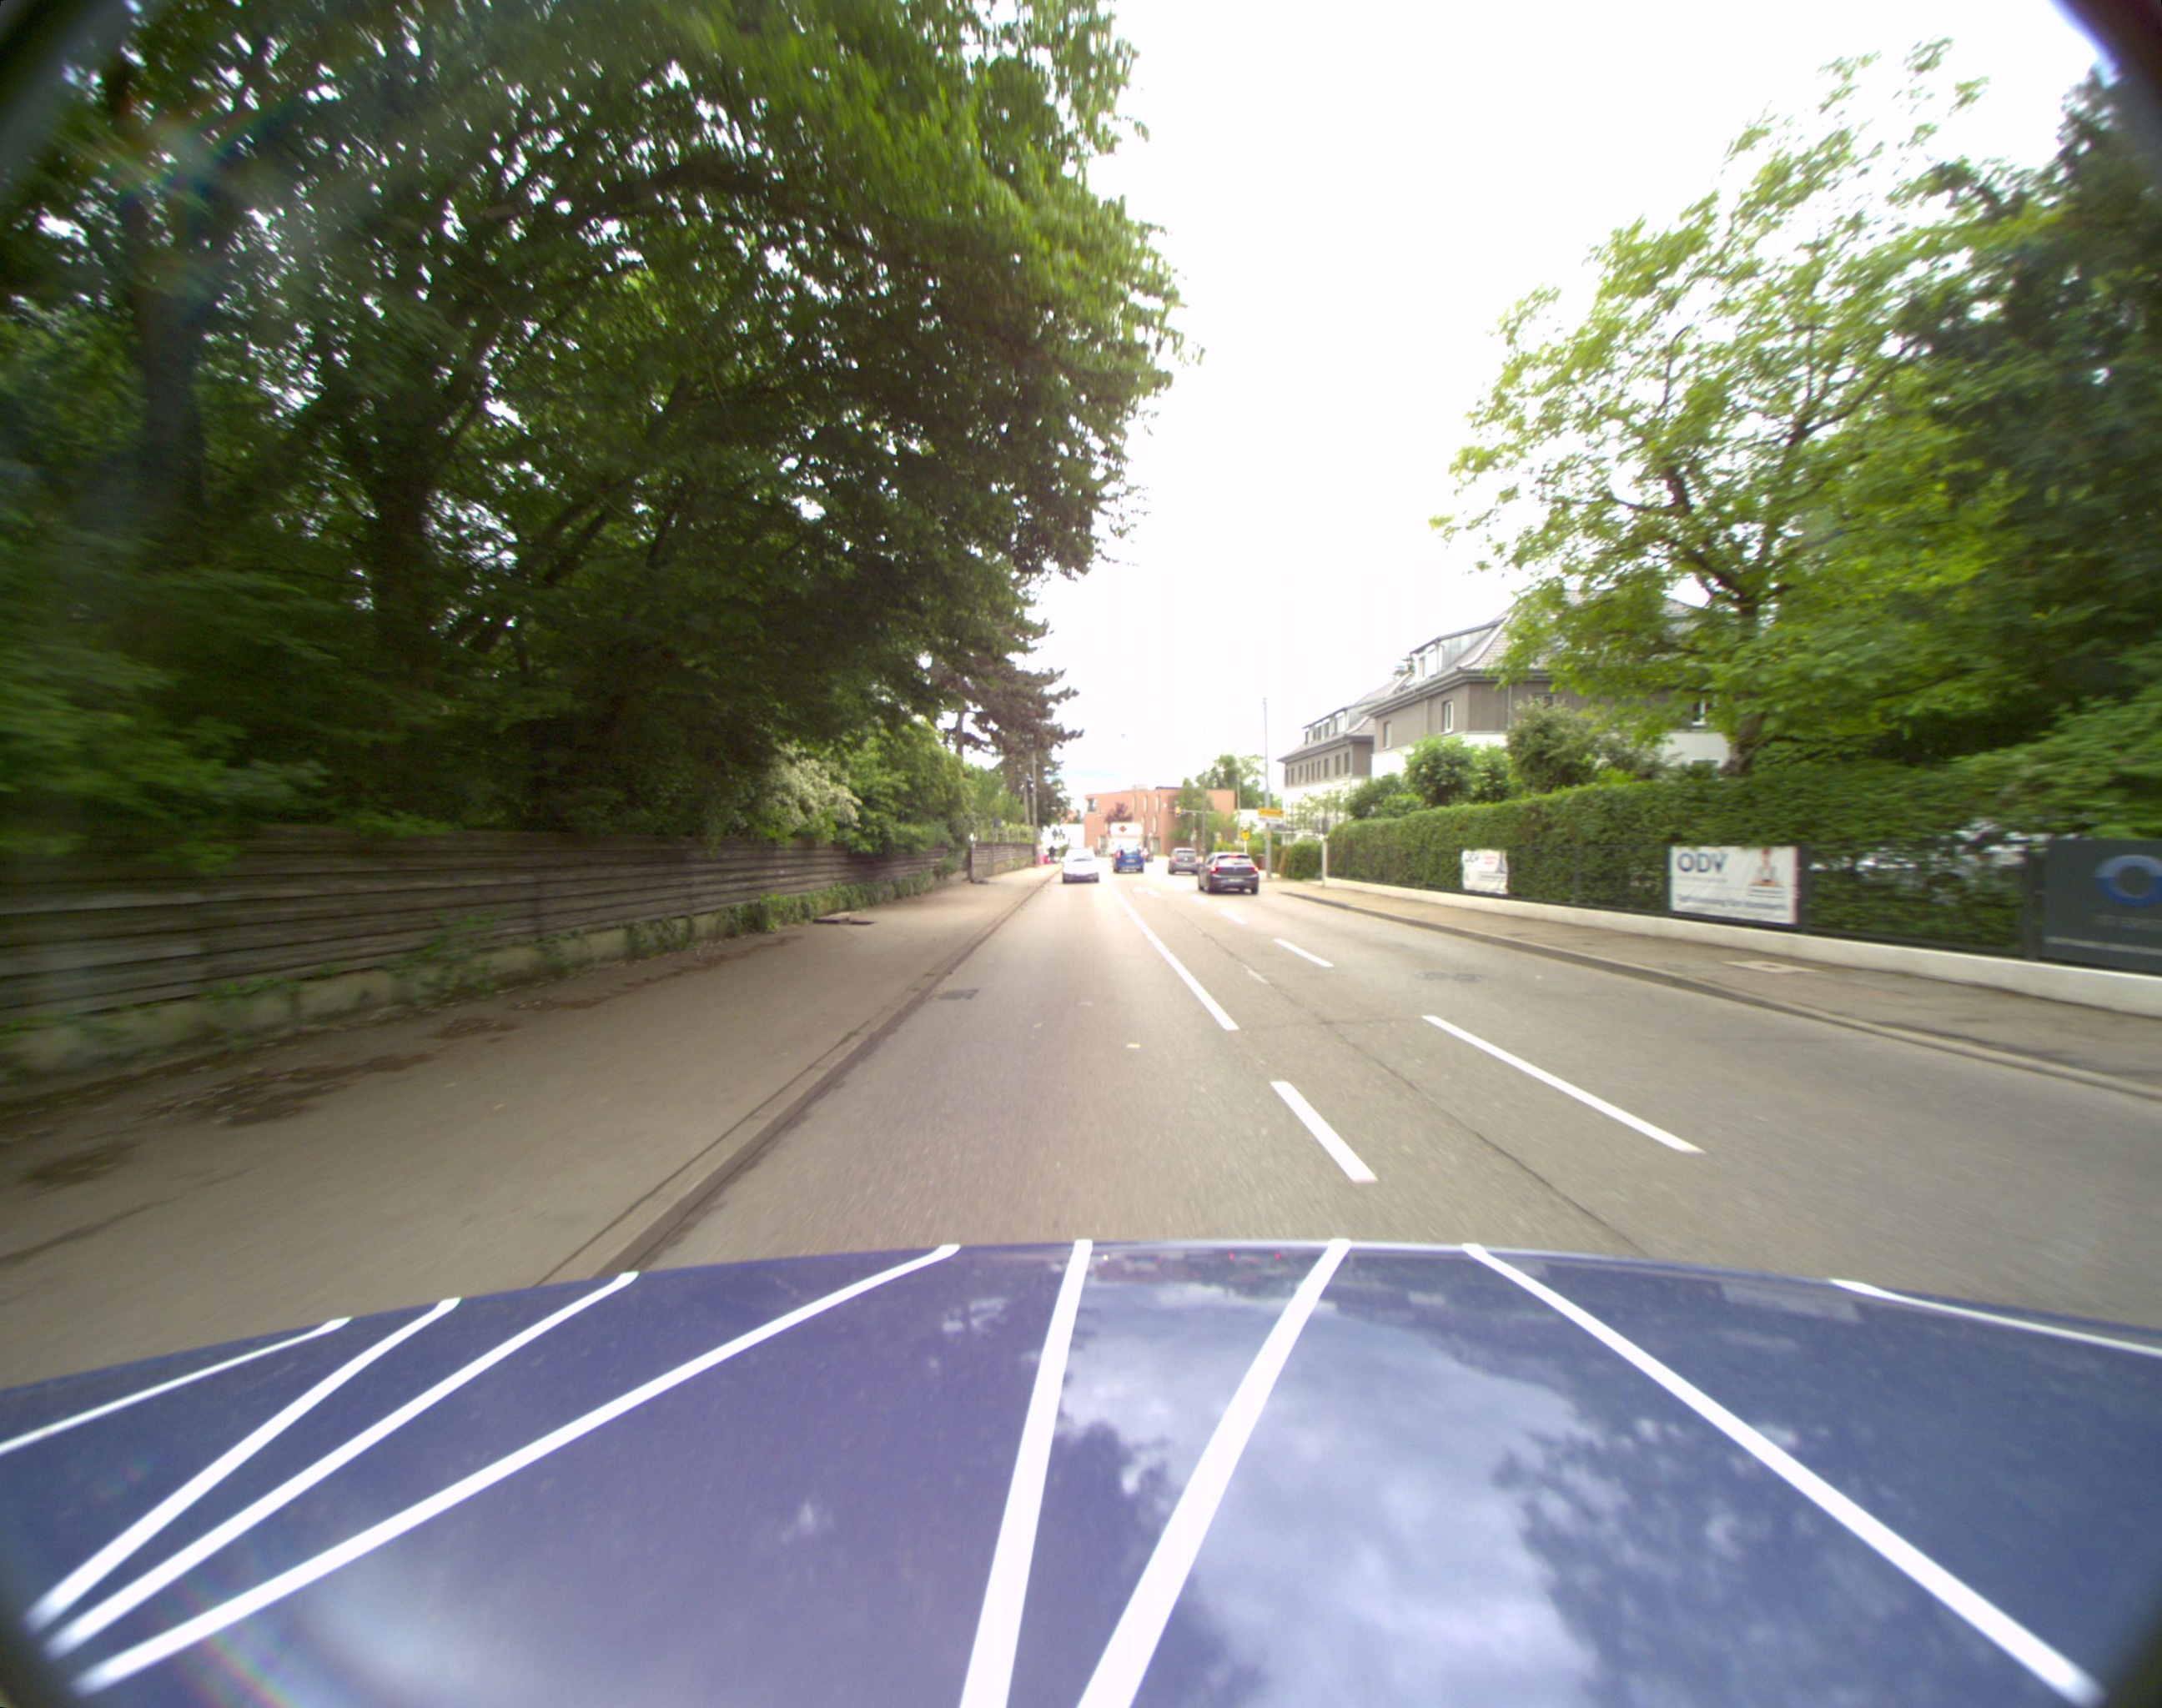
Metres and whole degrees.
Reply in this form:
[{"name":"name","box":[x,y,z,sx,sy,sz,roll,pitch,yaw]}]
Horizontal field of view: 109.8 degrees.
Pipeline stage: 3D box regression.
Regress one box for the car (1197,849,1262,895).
[{"name":"car","box":[5.208,0.589,27.046,1.684,1.463,4.018,-2,0,3]}]

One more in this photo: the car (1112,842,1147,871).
[{"name":"car","box":[2.978,0.141,47.304,1.810,1.707,4.377,-1,1,-1]}]

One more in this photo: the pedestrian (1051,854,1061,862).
[{"name":"pedestrian","box":[-2.305,0.367,70.456,0.648,0.692,0.583,-1,1,-40]}]

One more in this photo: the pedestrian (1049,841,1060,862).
[{"name":"pedestrian","box":[-2.500,-0.260,71.522,0.849,1.913,0.800,-1,1,-19]}]

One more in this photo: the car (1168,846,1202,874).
[{"name":"car","box":[6.033,0.315,44.320,1.688,1.510,3.536,-1,1,4]}]

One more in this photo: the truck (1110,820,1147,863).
[{"name":"truck","box":[3.988,-1.115,65.041,2.784,3.442,7.491,0,2,1]}]

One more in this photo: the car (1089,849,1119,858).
[{"name":"car","box":[3.754,-0.079,122.636,4.442,1.549,1.996,0,0,-24]}]

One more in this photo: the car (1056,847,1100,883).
[{"name":"car","box":[-0.110,0.472,36.373,1.998,1.587,4.000,-1,1,1]}]

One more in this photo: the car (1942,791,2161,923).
[{"name":"car","box":[14.361,0.003,9.849,3.996,1.543,2.000,0,2,2]}]
